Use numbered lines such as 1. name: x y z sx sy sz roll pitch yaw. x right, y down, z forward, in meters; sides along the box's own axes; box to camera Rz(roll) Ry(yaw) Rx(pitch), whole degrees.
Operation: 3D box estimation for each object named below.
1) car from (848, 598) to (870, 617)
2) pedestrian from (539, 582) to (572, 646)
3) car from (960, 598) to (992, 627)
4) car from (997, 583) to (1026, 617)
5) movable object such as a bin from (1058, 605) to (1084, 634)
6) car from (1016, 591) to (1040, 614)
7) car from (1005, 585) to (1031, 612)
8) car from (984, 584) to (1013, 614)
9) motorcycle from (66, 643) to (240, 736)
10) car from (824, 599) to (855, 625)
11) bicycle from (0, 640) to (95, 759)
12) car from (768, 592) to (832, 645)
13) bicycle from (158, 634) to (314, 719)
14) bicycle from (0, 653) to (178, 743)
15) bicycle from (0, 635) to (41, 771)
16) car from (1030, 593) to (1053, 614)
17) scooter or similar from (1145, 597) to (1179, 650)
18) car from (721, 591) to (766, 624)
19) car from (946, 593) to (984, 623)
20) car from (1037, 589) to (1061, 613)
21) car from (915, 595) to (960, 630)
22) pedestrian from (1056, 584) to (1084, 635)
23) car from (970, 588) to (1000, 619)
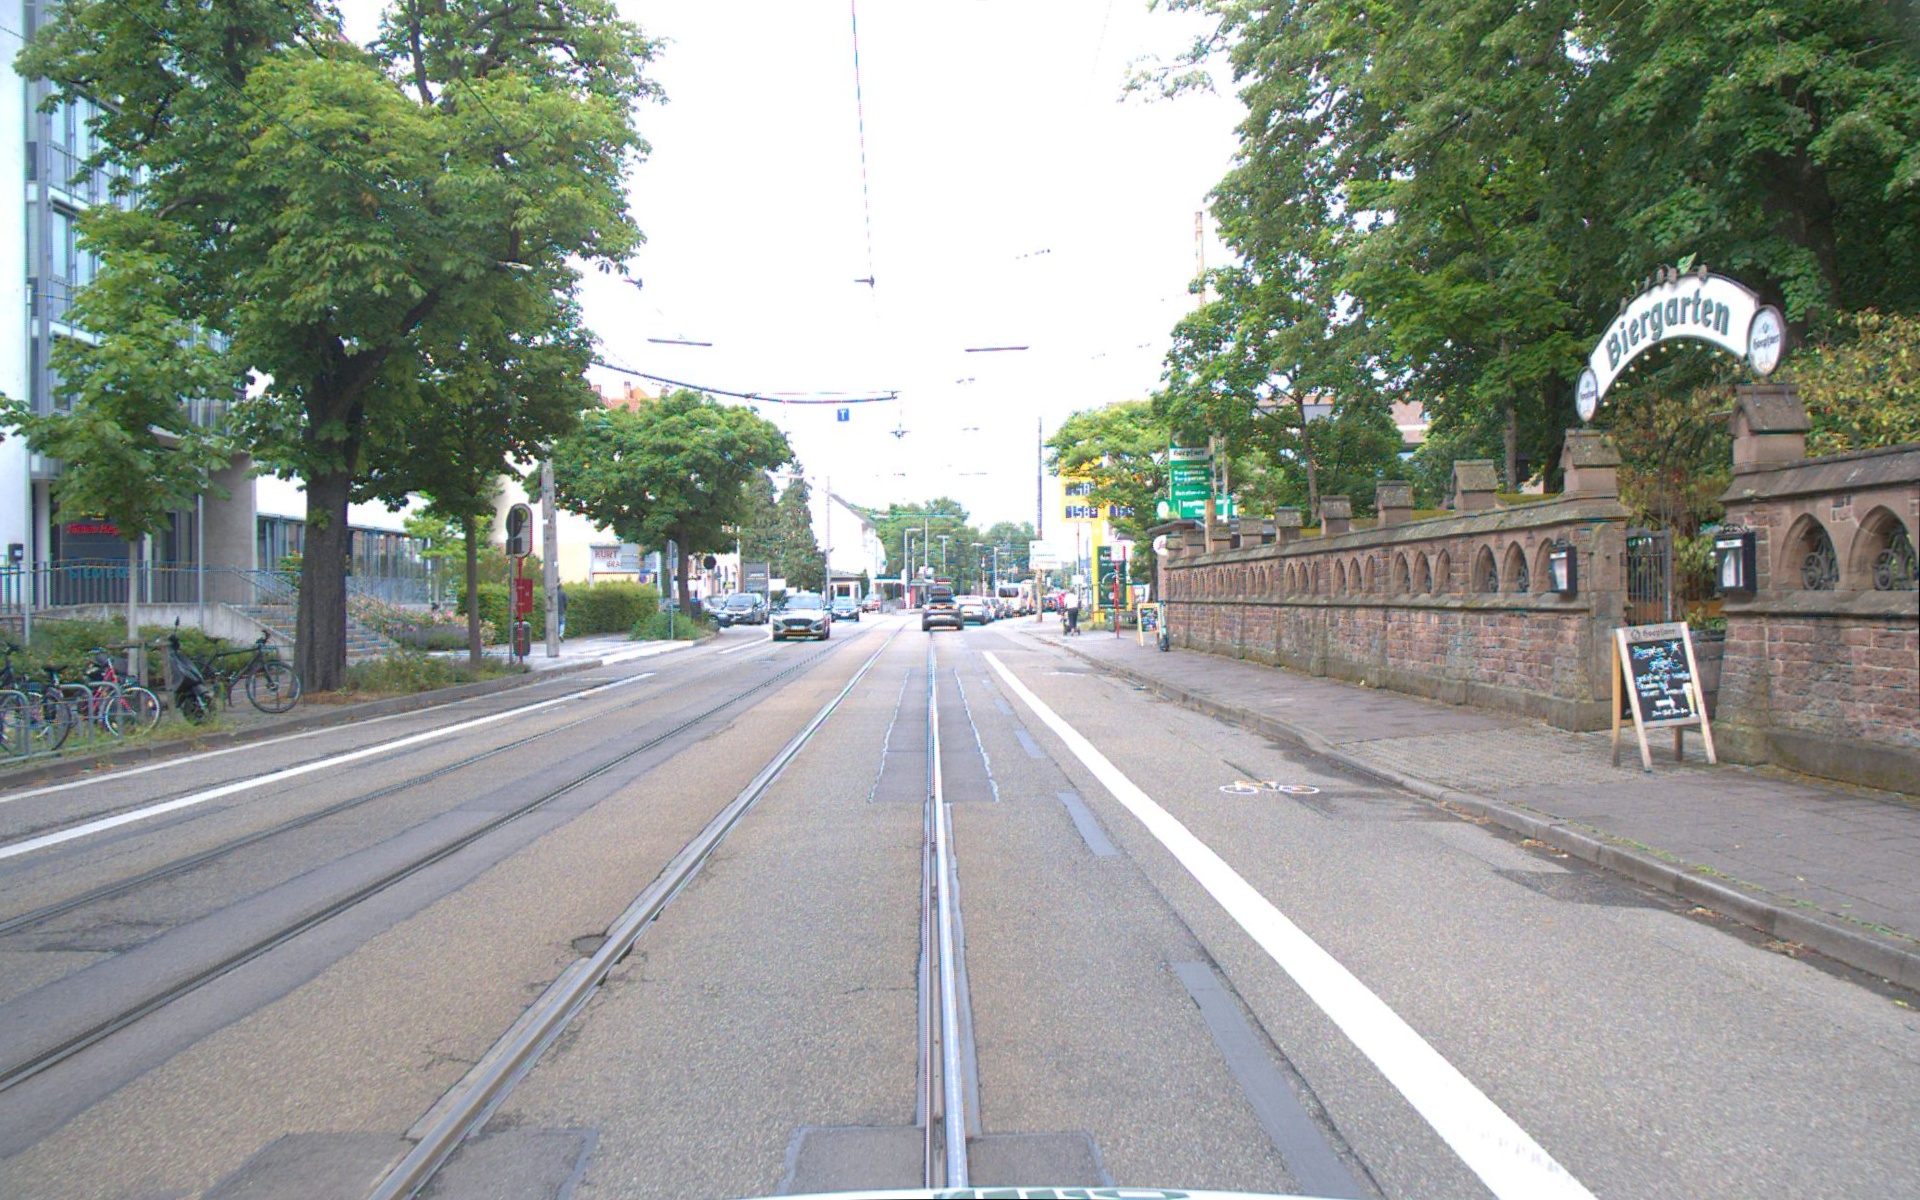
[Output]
1. car: -9.410 0.698 154.325 1.790 1.768 4.334 -1 0 0
2. pedestrian: -13.067 0.441 53.442 0.695 2.049 0.991 0 -1 6
3. car: 0.997 0.778 102.159 1.928 1.787 3.838 0 -1 1
4. car: 3.852 0.039 124.527 2.170 2.466 4.952 0 -1 1
5. movable object such as a bin: 4.177 0.735 62.178 0.751 1.057 1.025 -3 -1 13
6. car: 6.181 0.276 150.652 1.953 2.049 3.999 0 -1 -1
7. car: 4.703 -0.108 134.047 2.095 2.183 4.745 0 -1 2
8. car: 2.715 -0.031 117.083 1.952 2.049 4.001 0 -1 3
9. motorcycle: -9.778 1.075 20.092 1.754 1.068 0.732 0 -1 -8
10. car: -7.551 0.734 103.874 1.712 1.512 4.062 -2 1 -1
11. bicycle: -9.566 0.987 16.228 1.772 1.119 0.631 -2 -1 -8
12. car: -5.625 0.611 58.498 1.805 1.683 4.388 -3 1 -1
13. bicycle: -9.782 1.020 22.398 1.795 1.071 0.740 -1 0 -10
14. bicycle: -9.855 1.096 18.613 1.772 0.915 0.631 -2 -1 -8
15. bicycle: -9.469 0.958 15.069 1.825 1.207 0.632 -2 0 3
16. car: 8.010 0.393 162.912 1.953 2.049 3.999 0 -1 -1
17. scooter or similar: 4.951 0.568 40.642 0.565 1.260 1.409 -4 0 0
18. car: -13.194 0.455 101.065 1.950 1.920 4.999 0 -1 2
19. car: 0.244 0.410 89.073 1.941 1.577 4.182 0 0 -1
20. car: 7.101 0.100 132.671 1.835 1.855 4.097 0 -1 2
21. car: -1.017 0.565 74.582 1.949 1.523 4.325 0 -1 -1
22. pedestrian: 4.085 0.347 61.196 0.751 1.828 1.163 -3 -1 13
23. car: 1.690 0.244 110.816 1.952 2.049 4.000 0 -1 1
